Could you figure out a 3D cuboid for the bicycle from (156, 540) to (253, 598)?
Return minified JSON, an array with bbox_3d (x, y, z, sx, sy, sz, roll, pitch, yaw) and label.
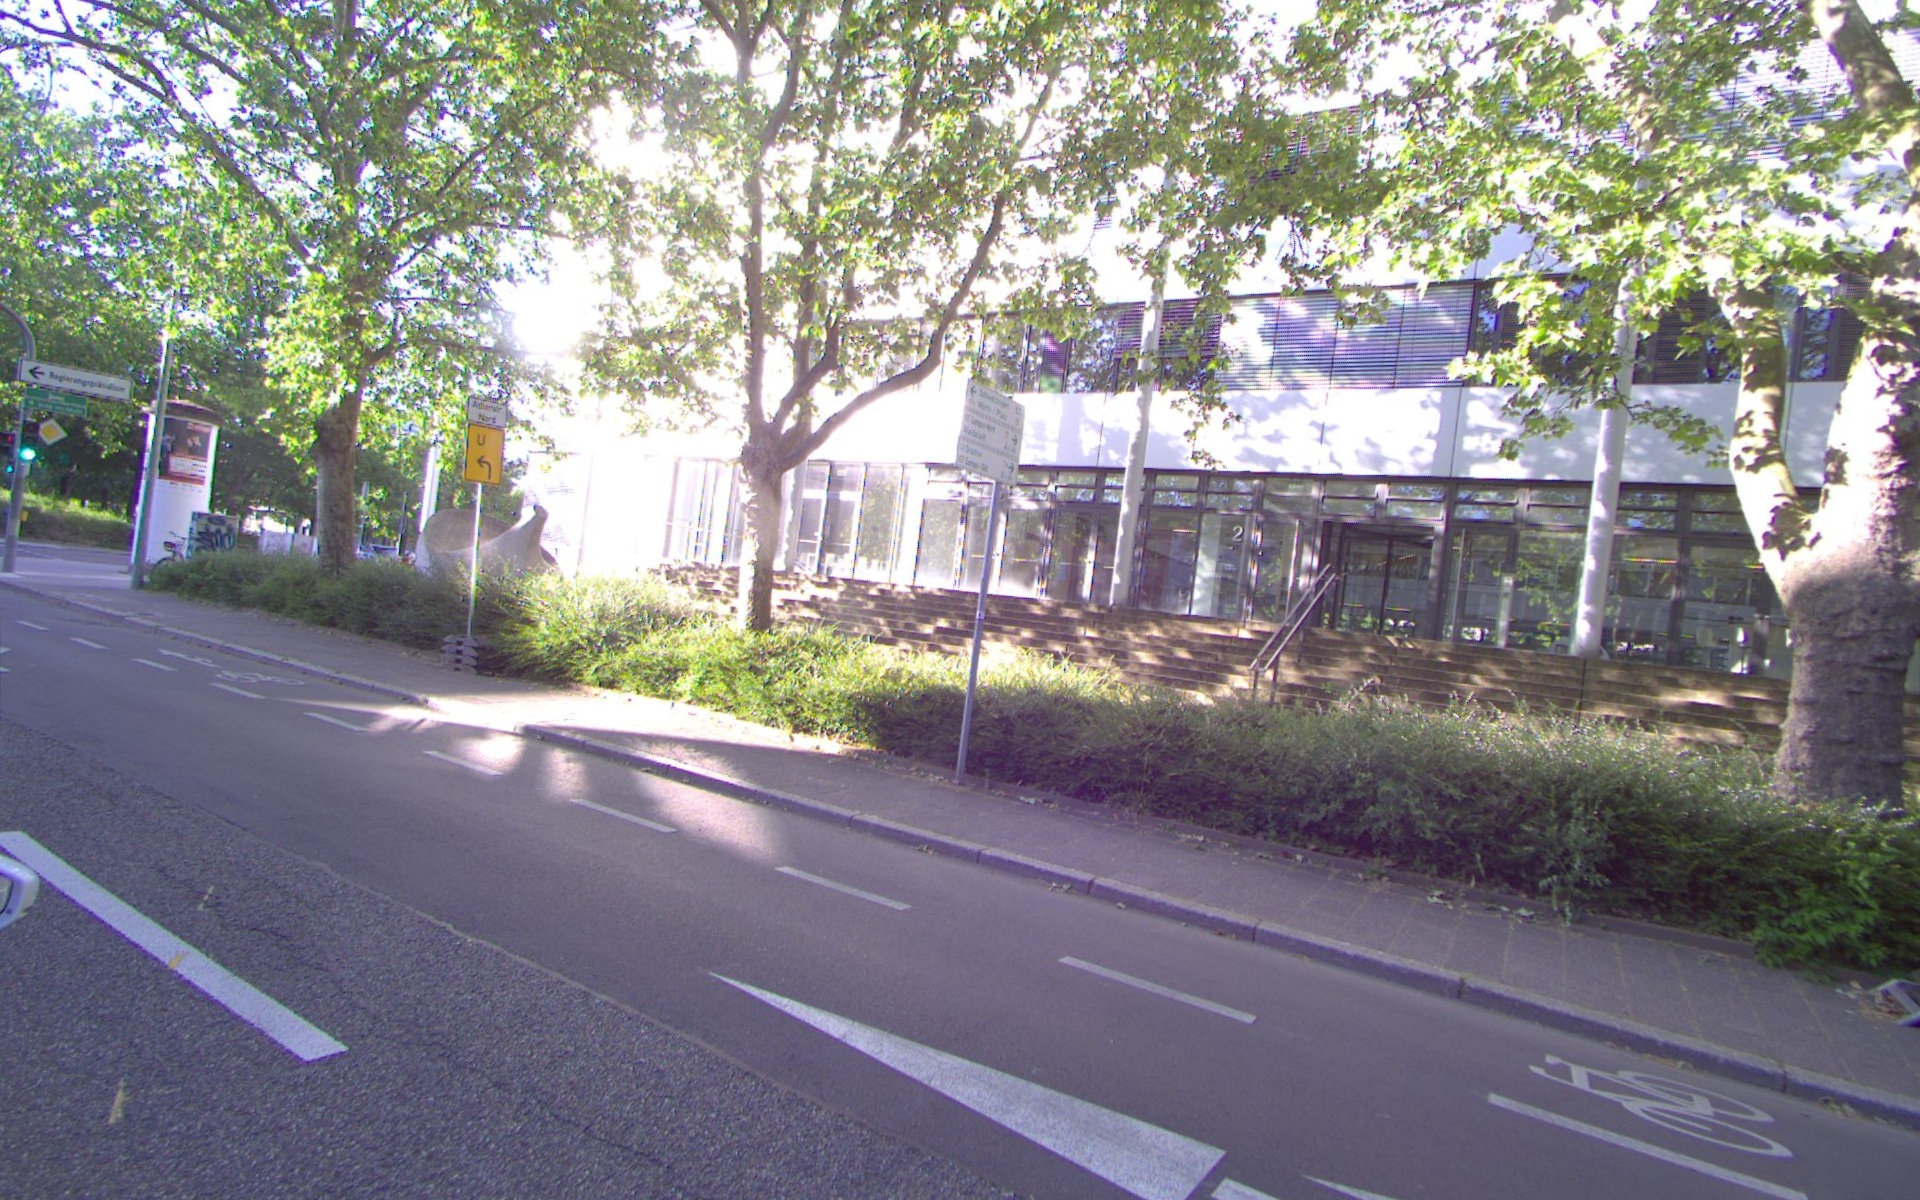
[{"bbox_3d":[-15.914,-0.635,21.256,0.631,1.040,1.887,7,-2,-5],"label":"bicycle"}]
